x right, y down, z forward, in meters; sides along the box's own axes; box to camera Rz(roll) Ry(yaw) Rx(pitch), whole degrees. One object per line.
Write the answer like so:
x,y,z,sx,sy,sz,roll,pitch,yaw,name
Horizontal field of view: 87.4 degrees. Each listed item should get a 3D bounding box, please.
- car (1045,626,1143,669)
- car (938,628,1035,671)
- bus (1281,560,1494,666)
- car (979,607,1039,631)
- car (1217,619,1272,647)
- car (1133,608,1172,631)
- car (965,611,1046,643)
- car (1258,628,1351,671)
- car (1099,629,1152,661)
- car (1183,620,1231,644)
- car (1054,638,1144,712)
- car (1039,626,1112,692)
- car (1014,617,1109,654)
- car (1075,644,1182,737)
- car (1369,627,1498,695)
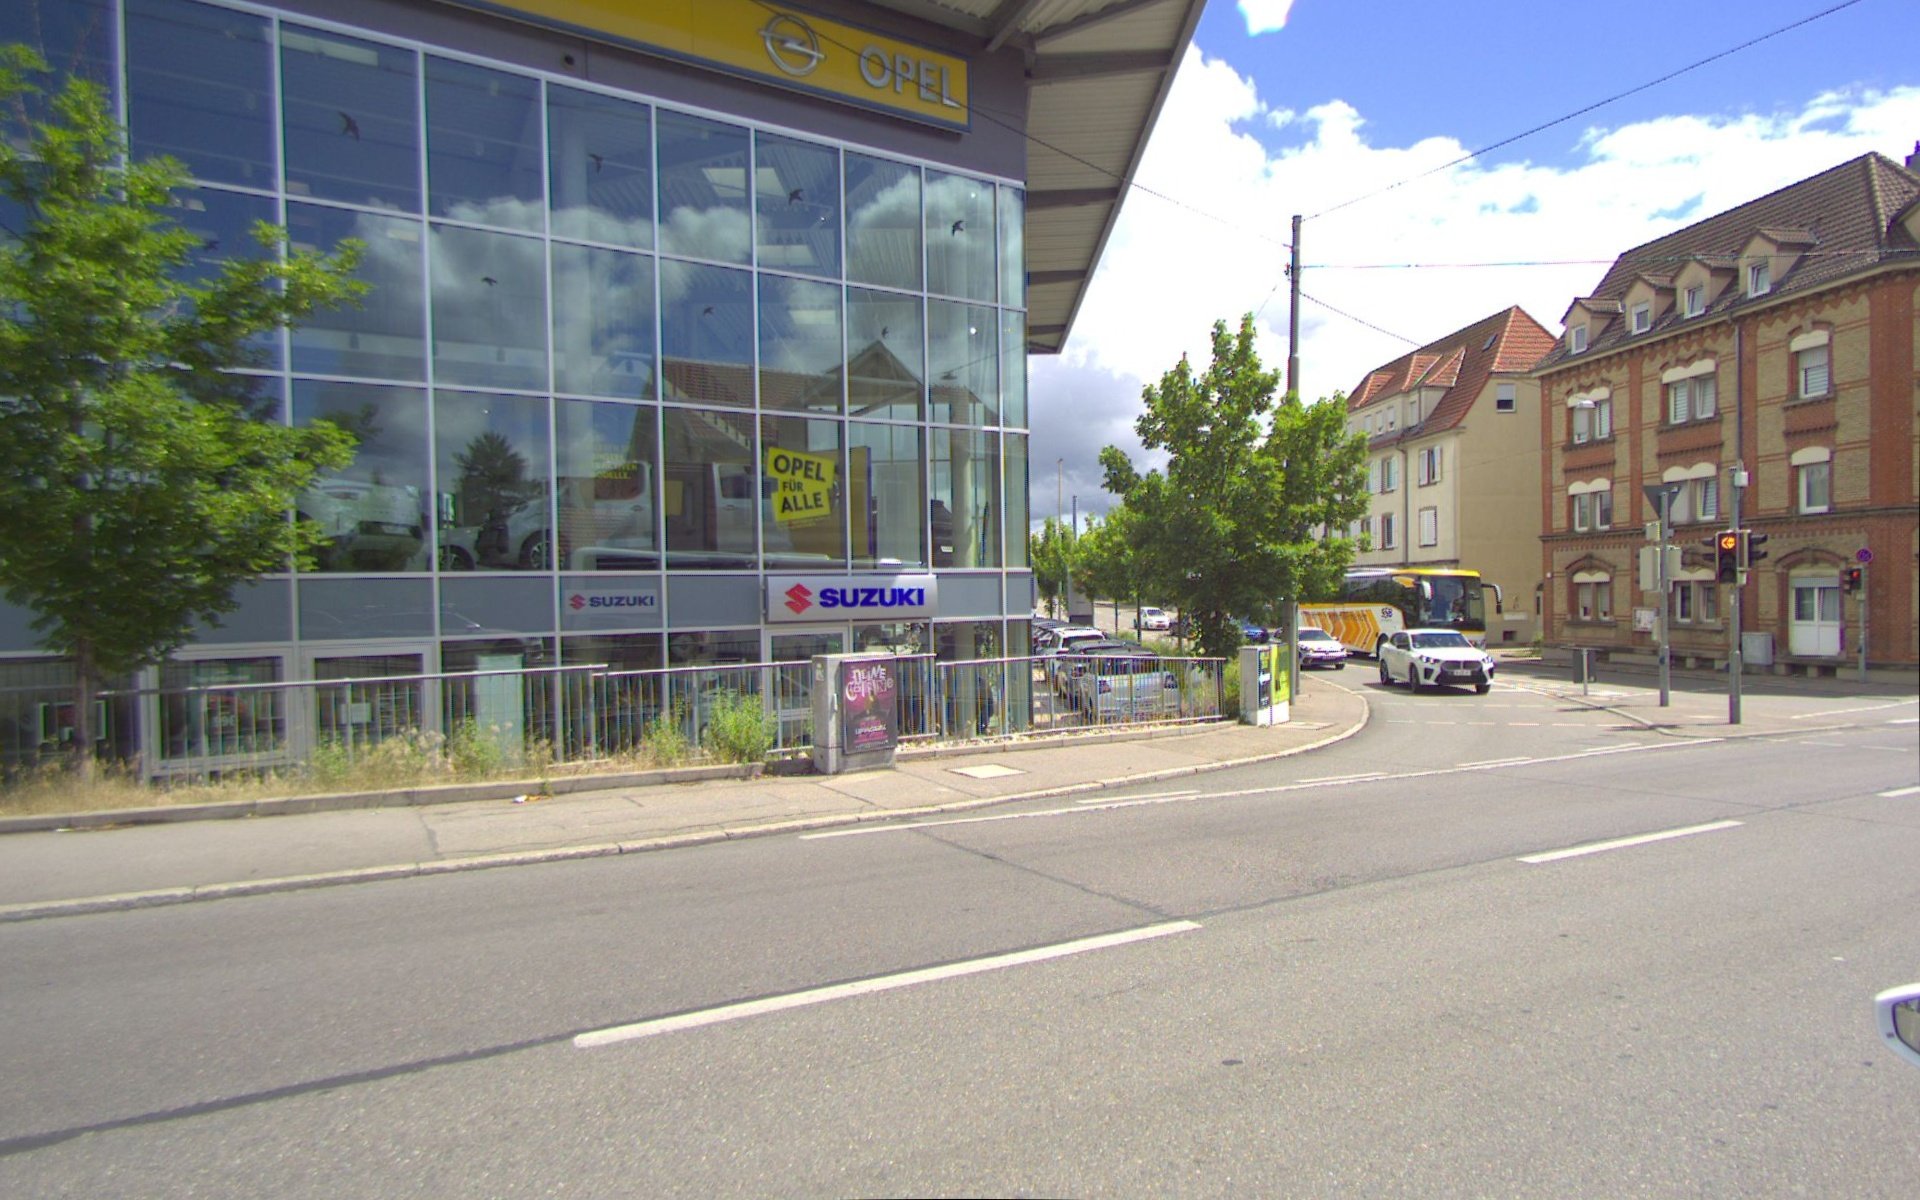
4.953,1.747,37.375,3.430,1.497,1.800,1,-1,1,car
0.949,1.805,36.991,3.432,1.467,1.799,-1,0,-3,car
16.936,0.538,41.309,2.718,3.670,12.257,1,-1,-4,bus
3.270,1.282,67.648,3.922,1.574,1.807,1,-1,-1,car
15.649,1.784,55.390,1.717,1.428,3.999,1,-1,-3,car
13.651,1.393,71.491,1.874,1.574,3.999,1,-1,-2,car
2.359,1.413,52.788,3.930,1.574,1.804,1,-1,-12,car
12.301,1.747,36.105,1.848,1.437,3.618,1,-1,-5,car
8.040,2.158,48.999,1.766,1.467,3.498,1,-1,-5,car
15.517,1.977,63.279,1.874,1.428,3.999,1,-1,-2,car
3.329,1.771,24.600,1.584,1.547,3.499,-1,0,-2,car
3.296,1.656,29.137,1.620,1.703,3.499,-1,0,-2,car
4.516,1.568,45.080,3.925,1.574,1.806,1,-1,-7,car
3.335,1.763,20.377,1.648,1.582,3.365,-1,0,1,car
12.491,1.551,26.802,1.796,1.572,4.309,0,-1,6,car
